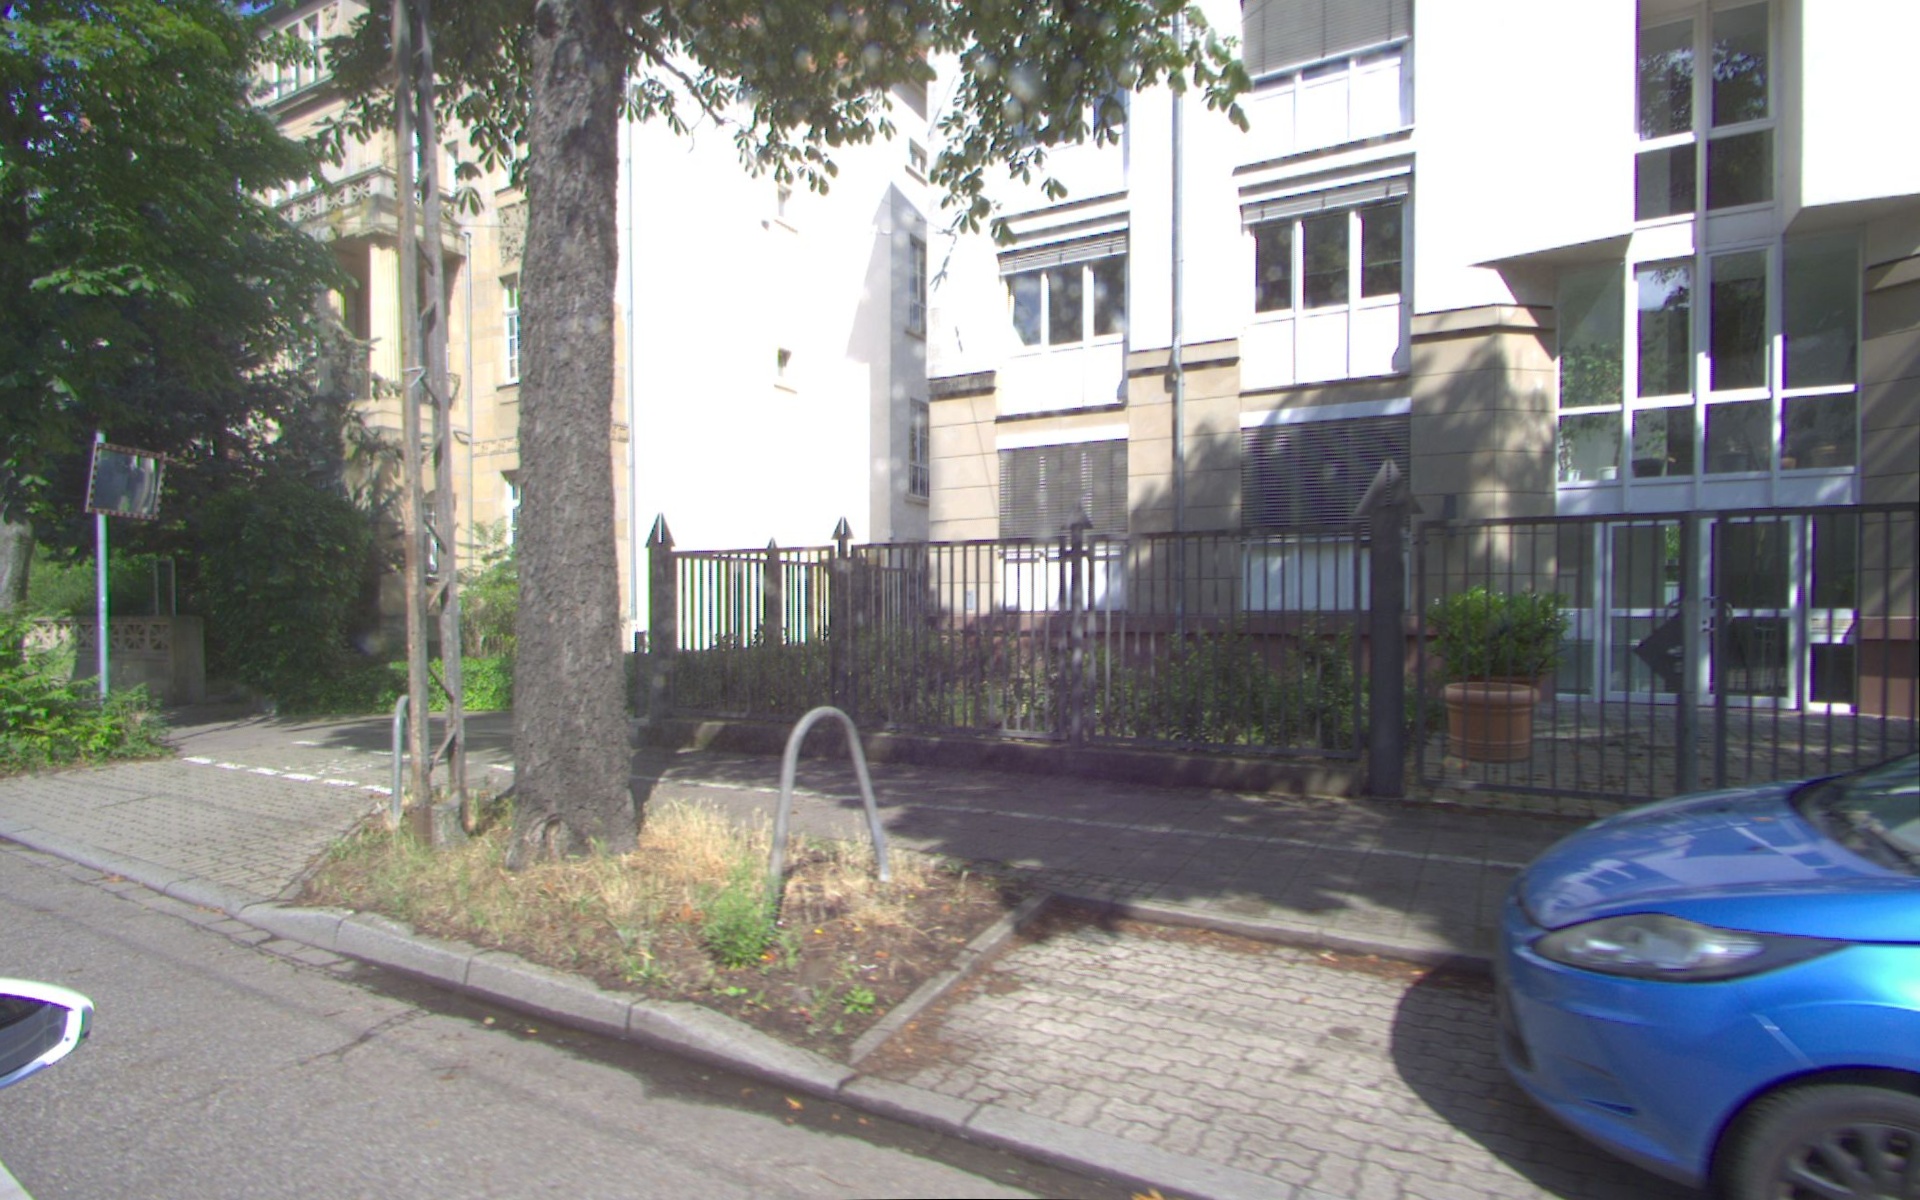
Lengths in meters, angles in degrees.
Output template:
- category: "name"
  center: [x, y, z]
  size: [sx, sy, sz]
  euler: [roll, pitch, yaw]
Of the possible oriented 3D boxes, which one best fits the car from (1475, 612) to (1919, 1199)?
- category: "car"
  center: [3.327, 0.811, 2.286]
  size: [3.789, 1.516, 1.621]
  euler: [0, 2, 29]
